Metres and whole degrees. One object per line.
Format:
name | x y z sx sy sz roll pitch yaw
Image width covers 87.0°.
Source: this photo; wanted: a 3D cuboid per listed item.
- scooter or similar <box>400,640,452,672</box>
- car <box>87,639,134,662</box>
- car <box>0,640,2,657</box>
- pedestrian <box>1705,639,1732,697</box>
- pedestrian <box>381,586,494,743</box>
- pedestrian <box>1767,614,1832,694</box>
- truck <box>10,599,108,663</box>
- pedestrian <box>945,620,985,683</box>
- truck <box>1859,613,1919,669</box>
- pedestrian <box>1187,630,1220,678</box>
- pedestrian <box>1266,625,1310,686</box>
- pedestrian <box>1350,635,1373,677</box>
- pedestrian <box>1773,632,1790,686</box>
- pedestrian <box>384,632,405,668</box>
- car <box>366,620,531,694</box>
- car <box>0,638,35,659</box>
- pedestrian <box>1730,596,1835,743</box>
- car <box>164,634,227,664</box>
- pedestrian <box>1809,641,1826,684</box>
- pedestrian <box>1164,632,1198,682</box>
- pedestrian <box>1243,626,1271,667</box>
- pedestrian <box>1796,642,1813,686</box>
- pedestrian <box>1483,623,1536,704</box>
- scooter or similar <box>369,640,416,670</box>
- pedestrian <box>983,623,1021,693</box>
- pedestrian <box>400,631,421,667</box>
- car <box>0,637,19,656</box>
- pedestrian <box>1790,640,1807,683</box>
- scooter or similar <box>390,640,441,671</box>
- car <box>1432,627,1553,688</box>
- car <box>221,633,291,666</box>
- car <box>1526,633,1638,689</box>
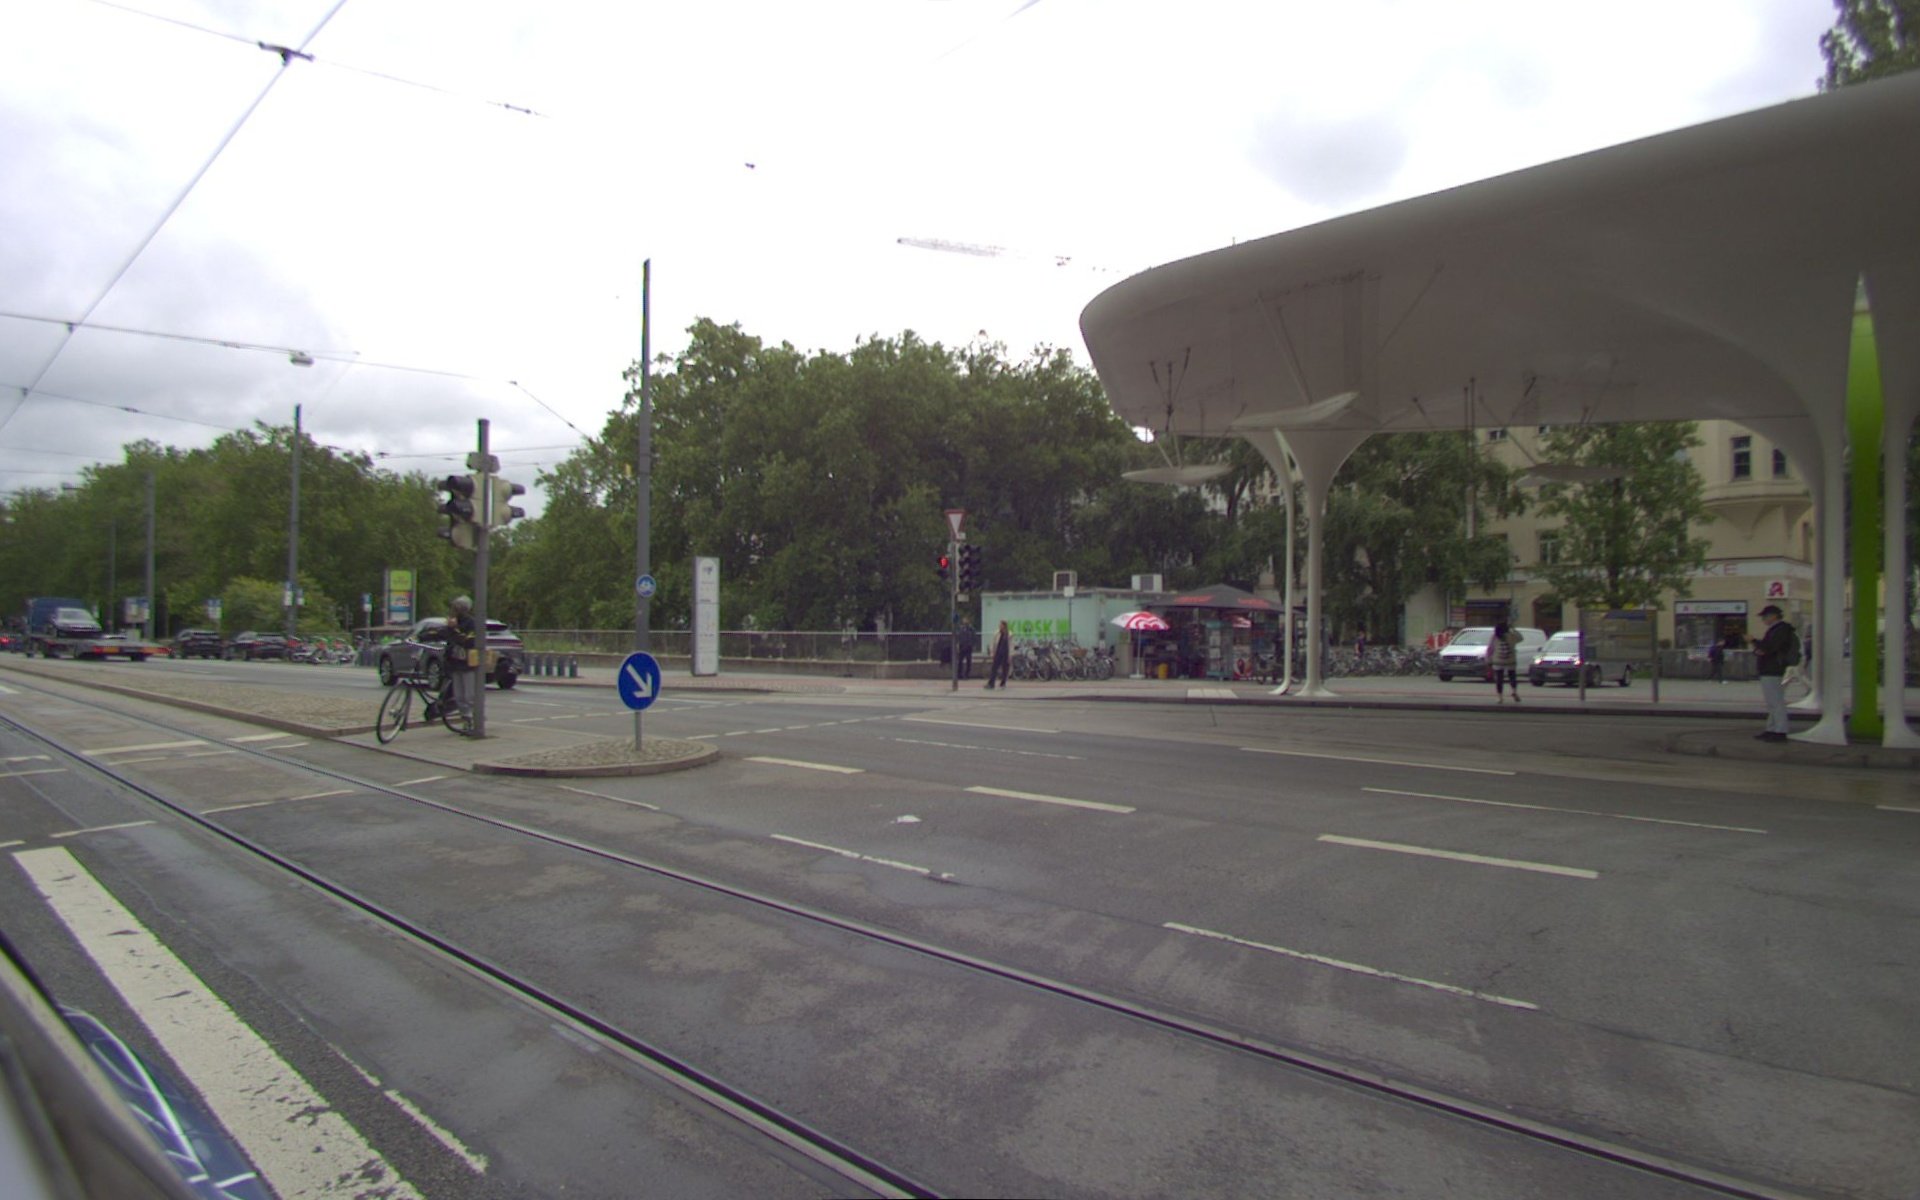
scooter or similar | -20.556 2.144 38.951 0.561 1.181 1.671 -2 -2 38
car | -58.272 3.464 69.434 3.998 1.542 1.868 -2 -3 41
car | -91.851 4.562 95.450 3.998 1.655 1.786 -2 -3 41
pedestrian | 26.921 2.395 35.942 0.691 2.029 0.691 -1 -2 34
pedestrian | -6.320 0.759 12.274 0.888 1.825 0.858 0 -1 12
pedestrian | 22.028 1.399 26.568 0.987 2.029 1.030 1 -2 -33
truck | -46.872 1.631 52.585 7.683 3.111 2.540 -2 -4 39
pedestrian | 0.136 1.430 28.293 0.725 1.729 0.862 1 -2 -38
truck | 46.472 2.002 50.108 5.269 2.643 2.295 2 -2 -42
pedestrian | 8.260 1.822 34.277 0.728 1.612 0.799 1 -2 -34
pedestrian | 9.752 1.624 30.067 0.956 1.776 1.019 -2 -2 38
pedestrian | 15.256 2.111 38.434 0.636 1.594 0.627 -2 -2 41
pedestrian | 31.604 2.271 38.949 0.457 2.029 0.575 -2 0 38
pedestrian | -25.017 2.208 44.765 0.588 1.570 0.624 -2 -3 40
car | -12.496 1.354 24.607 4.674 1.651 1.844 -1 -4 40
car | -78.231 4.026 83.951 3.998 1.655 1.786 -2 -3 41
pedestrian | 10.700 0.890 13.193 0.802 1.853 0.663 0 -2 12
car | -42.212 2.686 55.827 4.099 1.582 1.973 -2 -2 41
pedestrian | 32.964 2.396 38.911 0.457 1.638 0.575 -2 0 38
pedestrian | 7.260 1.845 33.195 0.728 1.612 0.799 1 -2 -34
pedestrian | 13.863 2.175 47.235 0.981 1.881 0.899 -2 -2 42
pedestrian | 32.172 2.416 38.562 0.457 1.638 0.575 -2 0 38
pedestrian | 11.260 1.291 20.760 0.833 1.622 0.743 -1 -2 20
scooter or similar | -23.071 2.214 41.182 0.558 1.181 1.681 -1 -2 22
pedestrian | 1.002 1.372 24.162 0.737 1.641 0.734 -1 -2 20
pedestrian | -24.640 2.194 45.341 0.588 1.570 0.624 -2 -3 40
car | -85.057 4.150 89.829 3.998 1.655 1.786 -2 -3 41
pedestrian | 32.644 2.390 39.388 0.458 1.602 0.517 -1 0 39
scooter or similar | -21.406 2.168 39.776 0.561 1.181 1.671 -2 -2 38
car | 18.427 1.919 34.911 4.851 1.962 1.874 2 -3 -38
car | -34.393 2.398 49.408 4.231 1.537 1.840 -2 -3 41
car | 19.332 1.841 31.394 3.937 1.628 1.834 1 -2 -41
